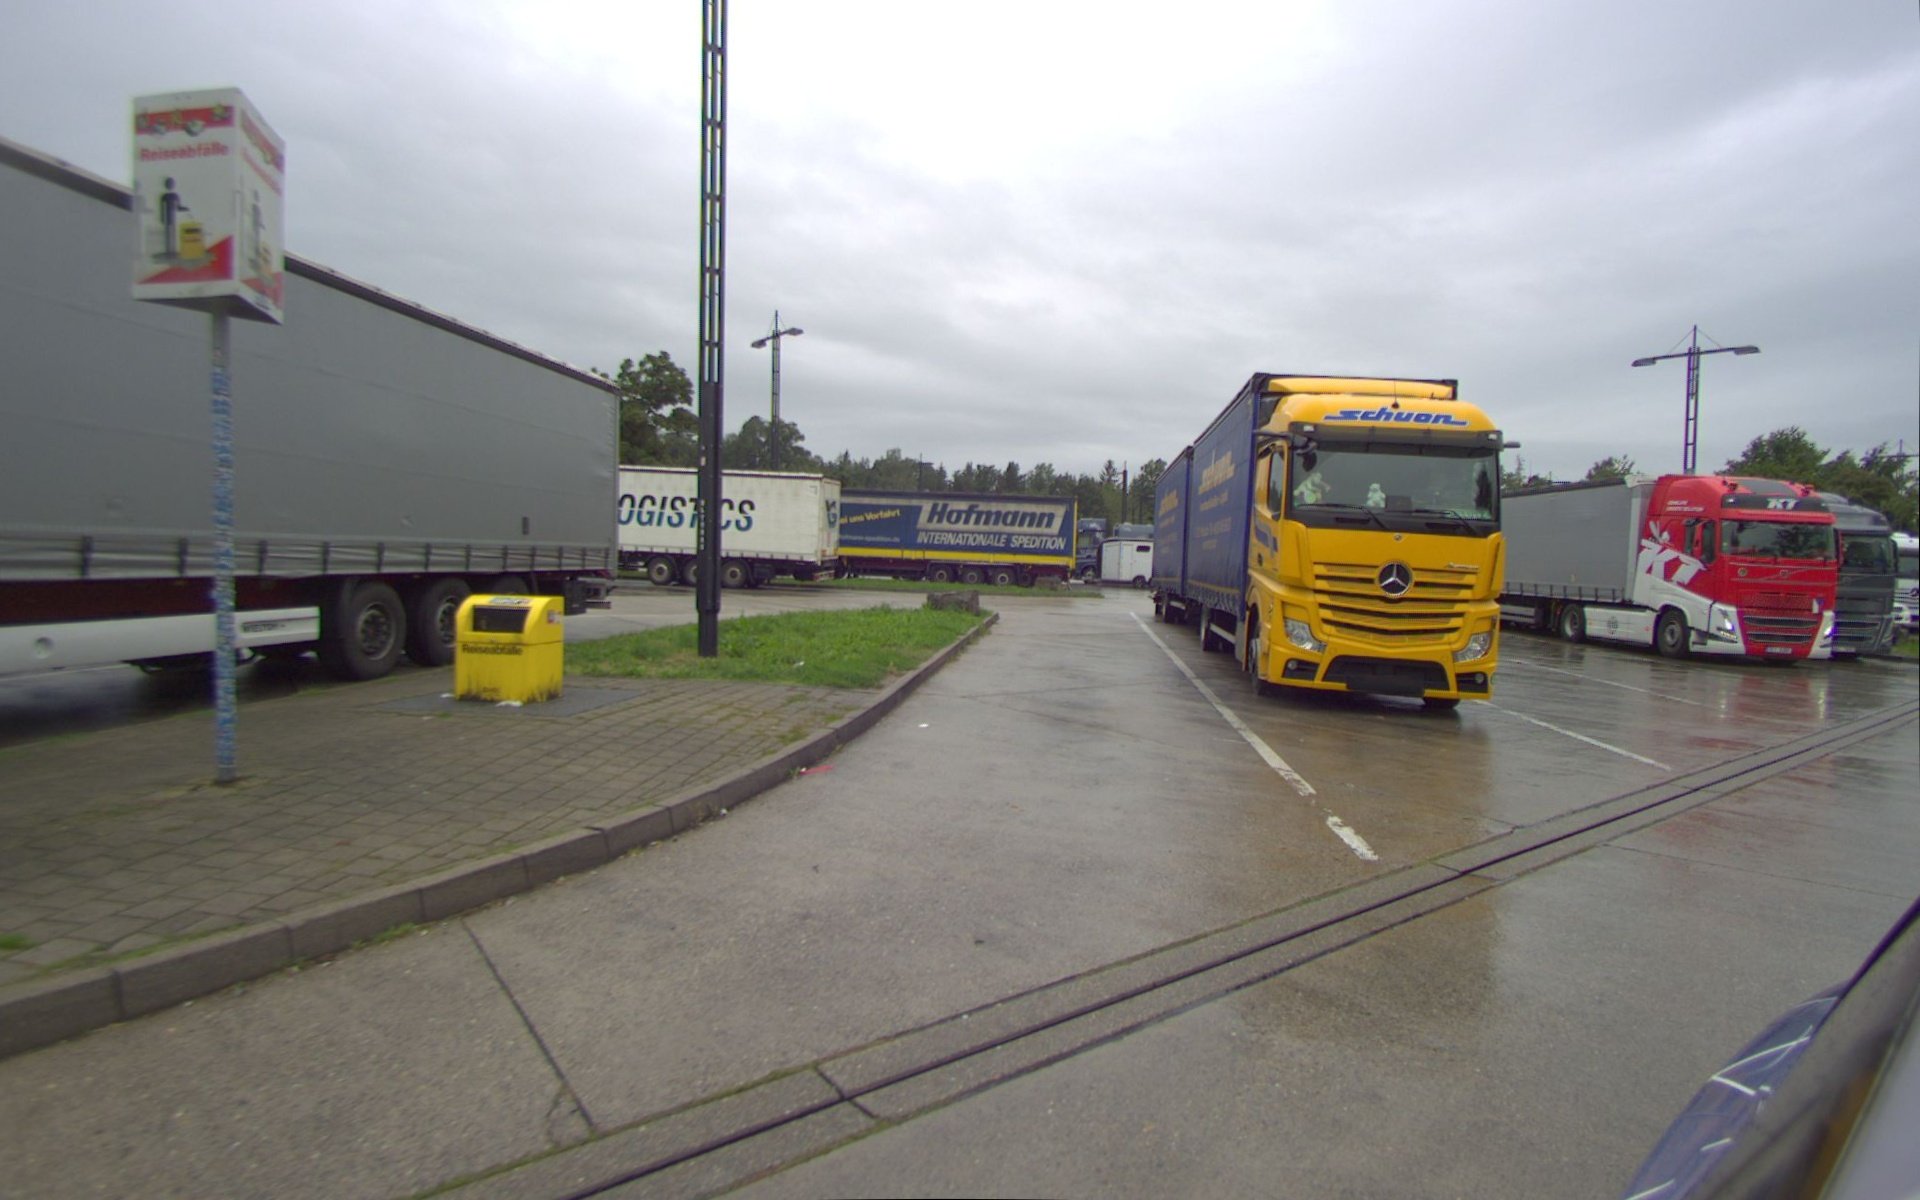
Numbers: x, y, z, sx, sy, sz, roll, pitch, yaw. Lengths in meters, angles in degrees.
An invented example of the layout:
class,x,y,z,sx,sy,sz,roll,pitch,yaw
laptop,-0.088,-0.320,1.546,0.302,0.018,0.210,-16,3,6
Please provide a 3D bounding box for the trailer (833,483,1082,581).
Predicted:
class,x,y,z,sx,sy,sz,roll,pitch,yaw
trailer,-0.074,-2.787,42.451,10.204,3.803,2.067,-1,0,5

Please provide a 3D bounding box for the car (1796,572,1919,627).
class,x,y,z,sx,sy,sz,roll,pitch,yaw
car,33.517,-0.069,37.567,1.816,1.881,3.995,1,2,6

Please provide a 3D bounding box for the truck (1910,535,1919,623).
class,x,y,z,sx,sy,sz,roll,pitch,yaw
truck,49.634,-0.971,49.172,2.559,4.440,4.626,1,2,3

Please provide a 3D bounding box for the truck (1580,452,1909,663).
class,x,y,z,sx,sy,sz,roll,pitch,yaw
truck,16.711,-0.947,22.119,3.187,3.967,5.020,2,2,3

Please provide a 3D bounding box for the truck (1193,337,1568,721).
class,x,y,z,sx,sy,sz,roll,pitch,yaw
truck,5.325,-0.951,14.717,2.792,3.966,8.118,2,3,7

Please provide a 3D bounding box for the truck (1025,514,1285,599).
class,x,y,z,sx,sy,sz,roll,pitch,yaw
truck,11.067,-2.548,58.826,14.319,4.440,3.473,2,2,7

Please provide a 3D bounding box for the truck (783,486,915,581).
class,x,y,z,sx,sy,sz,roll,pitch,yaw
truck,-4.661,-2.754,42.841,5.245,3.803,2.067,-1,0,5

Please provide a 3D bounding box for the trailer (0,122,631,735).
class,x,y,z,sx,sy,sz,roll,pitch,yaw
trailer,-7.365,-1.268,9.355,2.795,3.966,13.940,2,3,6

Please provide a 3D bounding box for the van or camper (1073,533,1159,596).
class,x,y,z,sx,sy,sz,roll,pitch,yaw
van or camper,8.460,-1.901,55.409,4.529,3.278,2.266,-1,0,7

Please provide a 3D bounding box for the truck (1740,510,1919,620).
class,x,y,z,sx,sy,sz,roll,pitch,yaw
truck,37.156,-1.471,42.200,3.187,4.141,7.935,2,3,3

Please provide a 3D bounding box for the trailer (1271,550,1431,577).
class,x,y,z,sx,sy,sz,roll,pitch,yaw
trailer,22.033,-2.064,57.454,7.825,1.305,3.242,1,2,6

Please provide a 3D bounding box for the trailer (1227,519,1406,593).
class,x,y,z,sx,sy,sz,roll,pitch,yaw
trailer,22.809,-2.847,65.205,10.280,4.440,3.092,1,2,6

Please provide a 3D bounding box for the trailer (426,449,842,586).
class,x,y,z,sx,sy,sz,roll,pitch,yaw
trailer,-11.245,-2.732,35.230,13.921,4.312,2.663,-1,0,7

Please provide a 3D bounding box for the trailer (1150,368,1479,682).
class,x,y,z,sx,sy,sz,roll,pitch,yaw
trailer,6.088,-1.348,21.343,2.820,3.966,16.610,2,3,7

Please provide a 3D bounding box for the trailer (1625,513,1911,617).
class,x,y,z,sx,sy,sz,roll,pitch,yaw
trailer,37.511,-1.729,48.219,3.187,4.141,13.528,2,3,3

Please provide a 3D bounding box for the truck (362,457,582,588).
class,x,y,z,sx,sy,sz,roll,pitch,yaw
truck,-17.254,-2.656,35.960,6.667,4.329,2.663,-1,0,7

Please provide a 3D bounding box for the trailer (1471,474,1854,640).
class,x,y,z,sx,sy,sz,roll,pitch,yaw
trailer,20.705,-1.378,31.767,2.824,3.966,13.931,2,3,3

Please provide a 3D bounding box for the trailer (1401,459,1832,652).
class,x,y,z,sx,sy,sz,roll,pitch,yaw
trailer,17.104,-1.290,28.850,3.187,3.966,14.825,2,3,3

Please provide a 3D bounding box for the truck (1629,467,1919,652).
class,x,y,z,sx,sy,sz,roll,pitch,yaw
truck,20.342,-1.029,25.355,2.847,3.966,6.553,2,3,3

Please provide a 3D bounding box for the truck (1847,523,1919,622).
class,x,y,z,sx,sy,sz,roll,pitch,yaw
truck,44.874,-1.228,46.453,3.187,4.440,5.810,1,2,3
